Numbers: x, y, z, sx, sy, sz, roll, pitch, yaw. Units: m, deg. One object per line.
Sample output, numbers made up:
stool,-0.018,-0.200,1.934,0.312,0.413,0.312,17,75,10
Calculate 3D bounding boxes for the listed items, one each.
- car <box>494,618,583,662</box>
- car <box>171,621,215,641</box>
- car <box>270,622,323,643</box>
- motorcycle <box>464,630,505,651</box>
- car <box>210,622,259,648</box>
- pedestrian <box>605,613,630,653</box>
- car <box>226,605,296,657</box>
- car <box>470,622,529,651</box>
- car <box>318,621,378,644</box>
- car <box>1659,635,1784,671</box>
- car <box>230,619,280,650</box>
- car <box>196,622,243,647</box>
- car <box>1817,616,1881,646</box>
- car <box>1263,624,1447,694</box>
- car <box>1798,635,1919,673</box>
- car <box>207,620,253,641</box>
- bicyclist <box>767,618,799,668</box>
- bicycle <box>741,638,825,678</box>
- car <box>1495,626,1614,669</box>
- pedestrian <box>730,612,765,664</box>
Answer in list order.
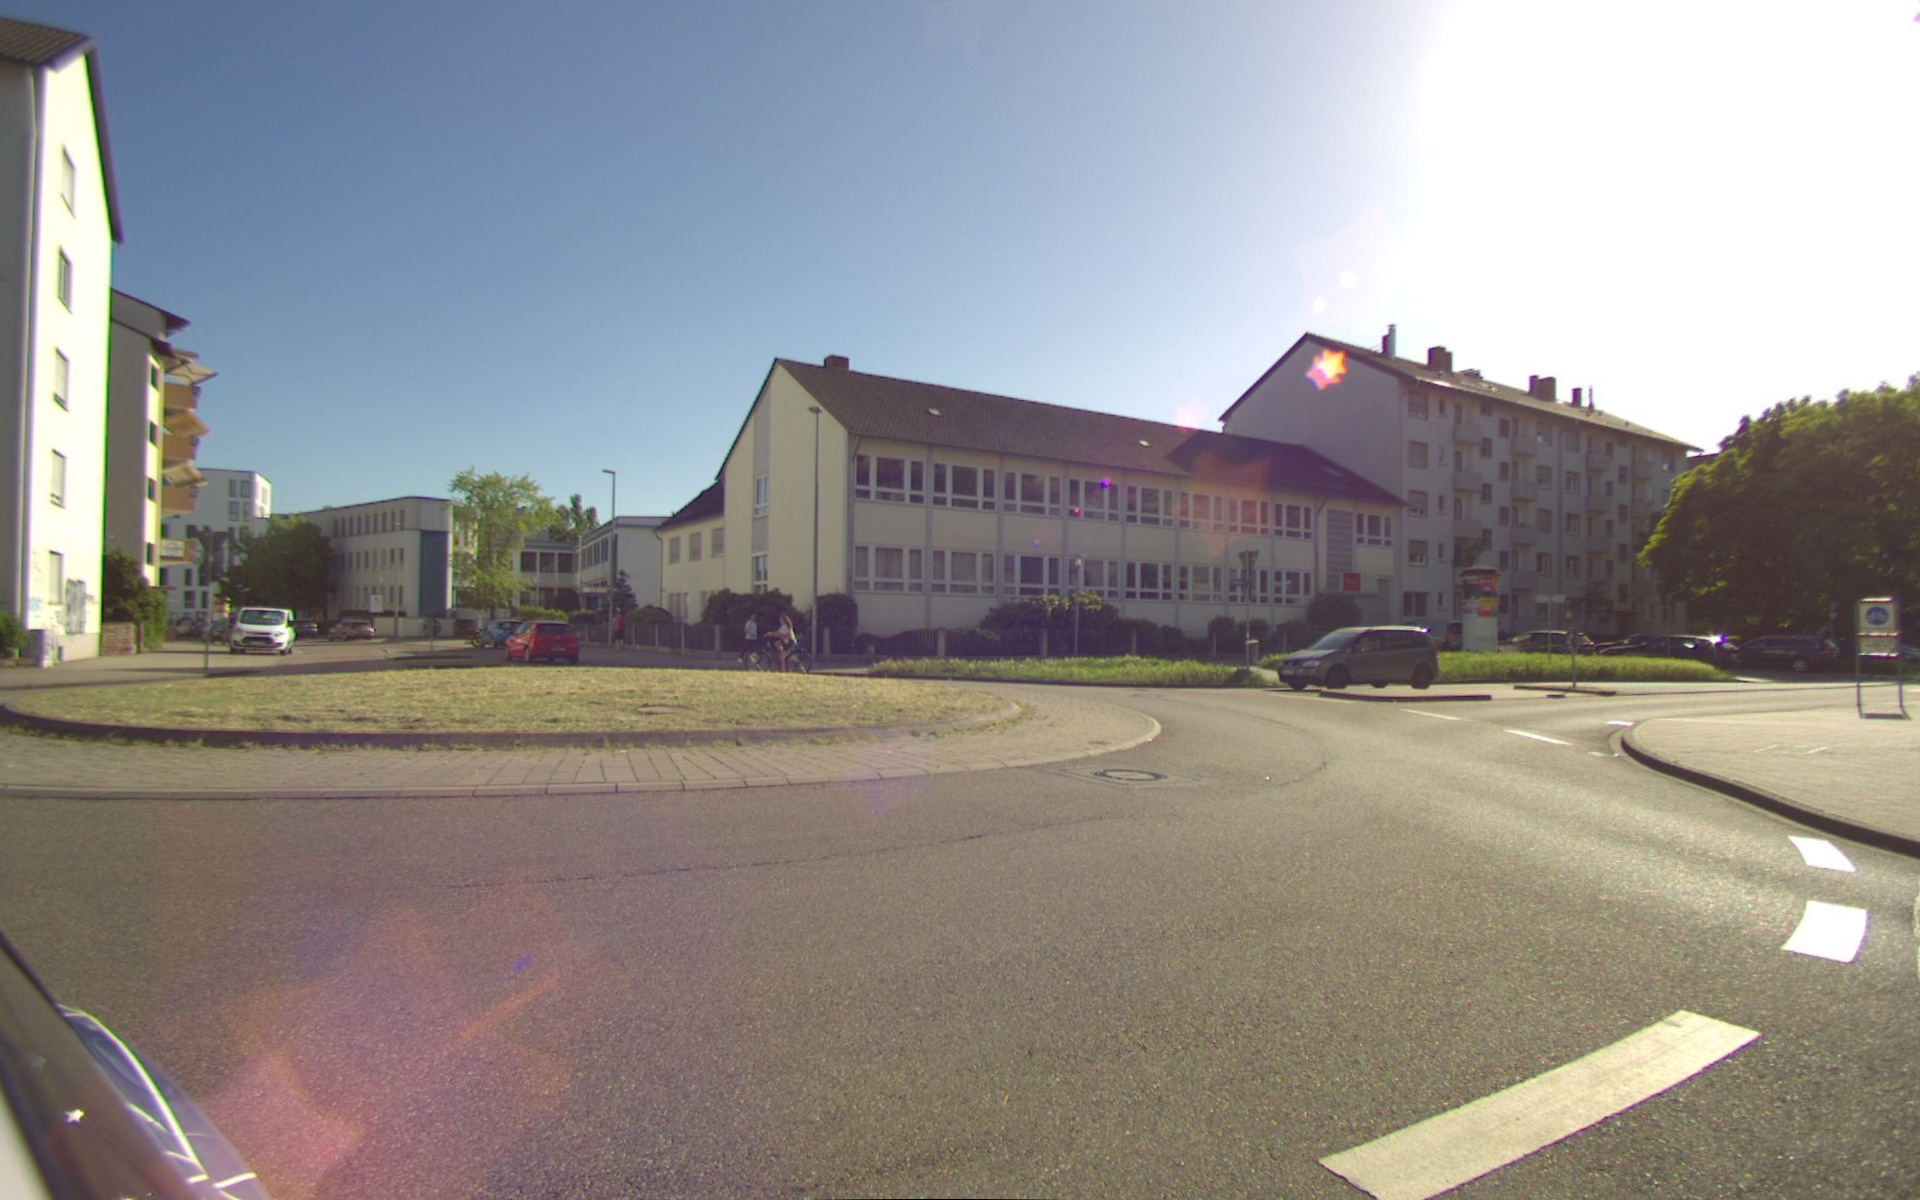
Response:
car,-14.552,1.383,34.828,1.690,1.393,4.007,4,-4,-40
car,-73.013,2.930,96.315,4.829,1.824,2.112,-1,-1,38
car,-52.585,2.543,80.146,4.829,1.625,2.112,-1,-1,38
motorcycle,-26.018,2.192,55.380,1.932,1.103,0.592,-1,-2,-9
car,-45.604,2.200,63.609,4.002,1.465,1.733,-1,-6,44
pedestrian,-14.771,1.419,43.606,0.806,1.718,1.000,0,-1,-33
car,-29.799,1.332,43.271,1.966,2.029,4.811,5,-4,-30
car,-24.075,1.875,52.829,1.855,1.445,4.423,0,-1,-38
car,-44.790,2.349,73.989,4.826,1.625,2.113,-1,-1,37
car,34.136,2.344,45.483,1.965,1.475,4.013,1,-2,-26
car,-40.740,1.987,58.440,1.732,1.654,4.004,7,-6,-42
car,-48.841,2.274,66.749,4.001,1.465,1.733,-1,-6,43
car,46.832,1.652,53.272,3.936,1.534,1.855,2,-2,-38
car,10.283,1.498,26.407,4.200,1.709,1.886,0,-2,-18
car,38.402,2.262,42.988,1.821,1.497,4.008,2,-2,-38
car,-65.091,2.693,90.191,4.829,1.824,2.112,-1,-1,38
bicyclist,-4.741,1.150,27.150,0.812,1.322,0.812,0,-1,-7
bicycle,-4.728,1.553,27.149,2.176,1.022,0.812,0,-1,-7
car,25.612,2.020,43.751,1.965,1.785,4.013,1,-2,-26
pedestrian,-7.161,1.272,34.090,0.986,1.718,0.690,-1,-1,11
